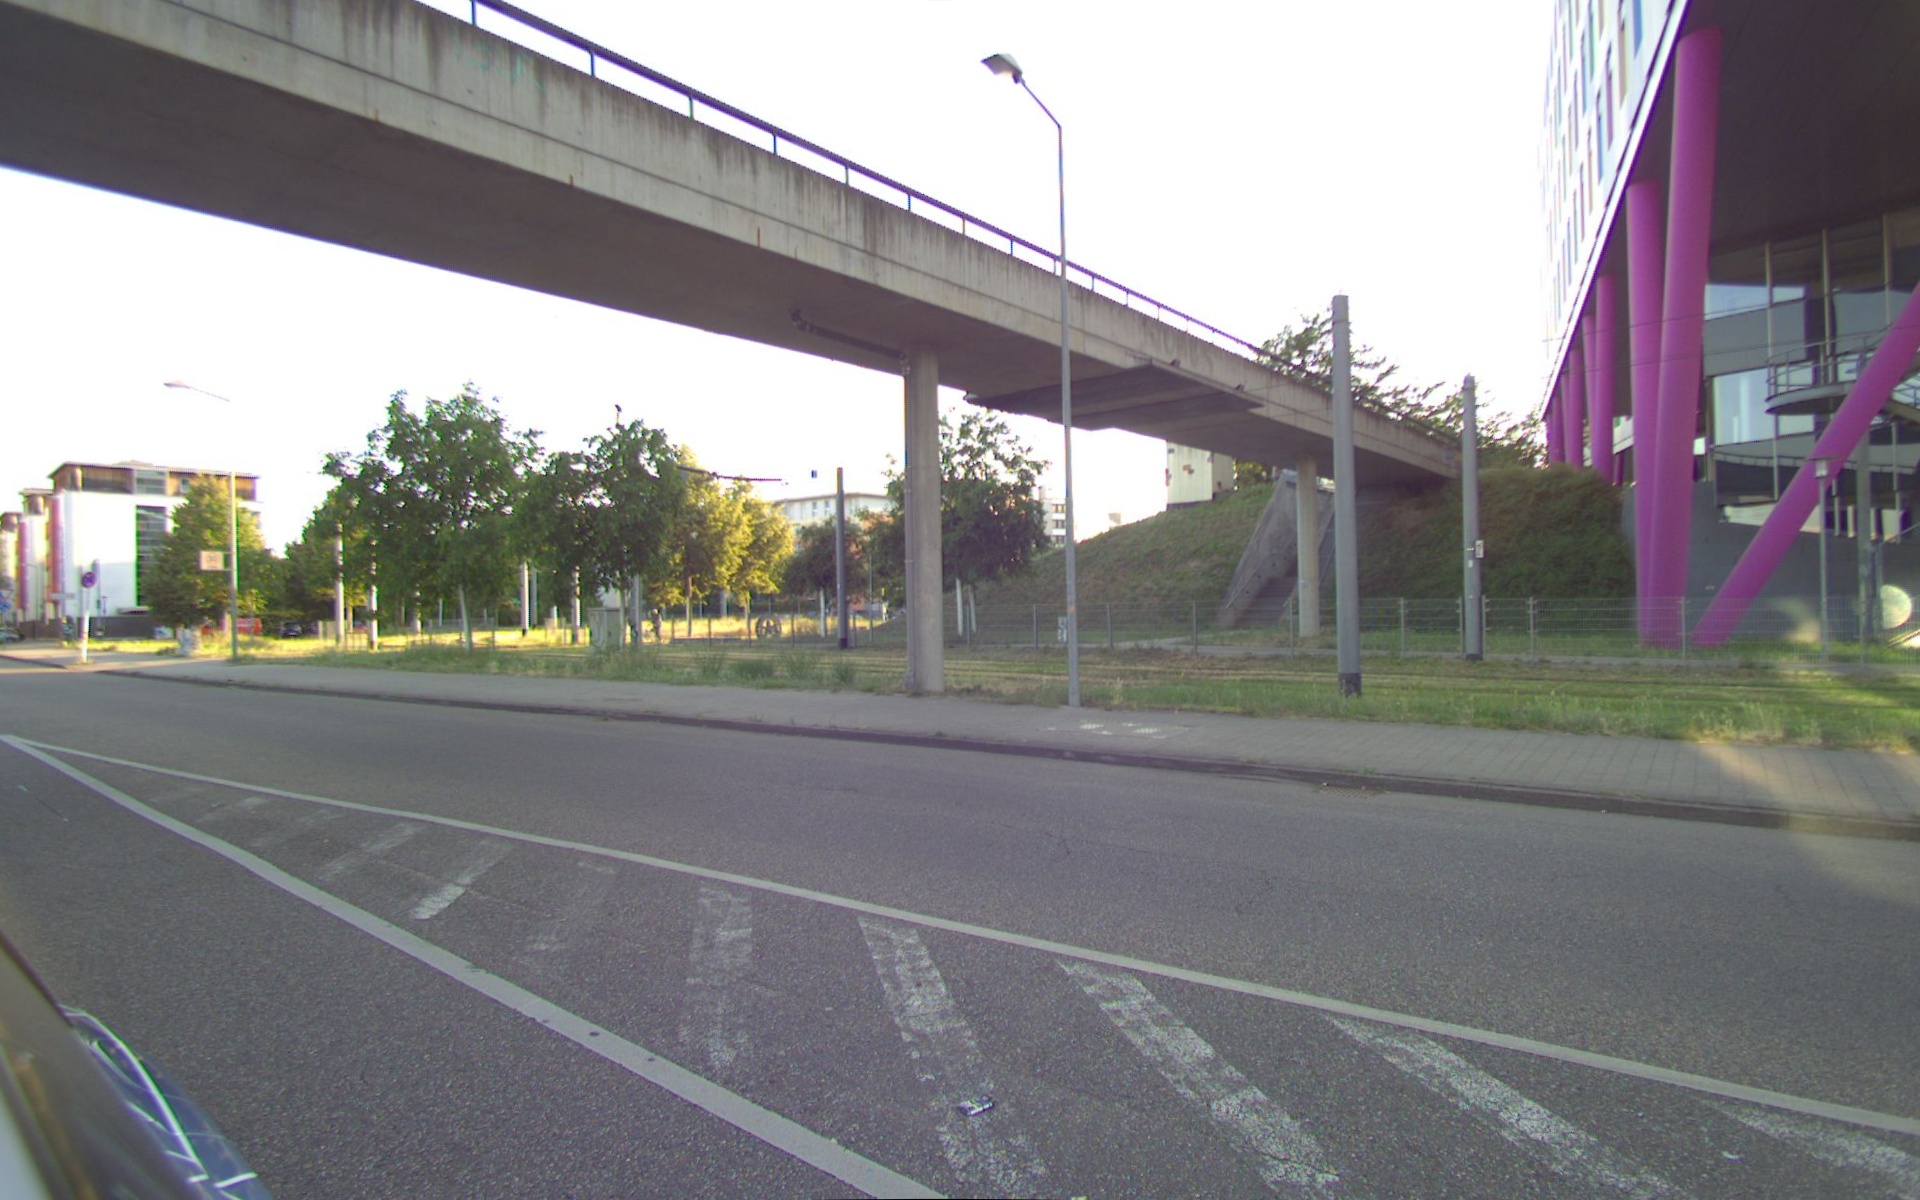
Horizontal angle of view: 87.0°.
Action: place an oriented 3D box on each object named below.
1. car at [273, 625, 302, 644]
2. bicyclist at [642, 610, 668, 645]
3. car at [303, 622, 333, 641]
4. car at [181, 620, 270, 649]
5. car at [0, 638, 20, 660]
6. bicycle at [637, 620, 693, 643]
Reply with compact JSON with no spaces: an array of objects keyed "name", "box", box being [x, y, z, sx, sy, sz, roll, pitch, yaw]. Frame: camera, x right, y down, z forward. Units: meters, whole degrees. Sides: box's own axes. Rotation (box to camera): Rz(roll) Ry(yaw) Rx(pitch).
[{"name":"car","box":[-56.993,2.906,85.762,1.913,1.541,4.009,-1,-1,-36]},{"name":"bicyclist","box":[-14.762,1.331,48.992,0.716,1.644,0.899,-2,-1,36]},{"name":"car","box":[-55.268,2.723,87.052,1.913,1.541,4.009,-1,-1,-36]},{"name":"car","box":[-56.735,2.630,78.253,5.440,2.029,2.003,-1,-1,-41]},{"name":"car","box":[-80.437,4.087,83.560,2.000,1.741,3.944,-2,-1,42]},{"name":"bicycle","box":[-14.392,1.526,49.516,0.654,1.016,2.808,-2,-1,36]}]
